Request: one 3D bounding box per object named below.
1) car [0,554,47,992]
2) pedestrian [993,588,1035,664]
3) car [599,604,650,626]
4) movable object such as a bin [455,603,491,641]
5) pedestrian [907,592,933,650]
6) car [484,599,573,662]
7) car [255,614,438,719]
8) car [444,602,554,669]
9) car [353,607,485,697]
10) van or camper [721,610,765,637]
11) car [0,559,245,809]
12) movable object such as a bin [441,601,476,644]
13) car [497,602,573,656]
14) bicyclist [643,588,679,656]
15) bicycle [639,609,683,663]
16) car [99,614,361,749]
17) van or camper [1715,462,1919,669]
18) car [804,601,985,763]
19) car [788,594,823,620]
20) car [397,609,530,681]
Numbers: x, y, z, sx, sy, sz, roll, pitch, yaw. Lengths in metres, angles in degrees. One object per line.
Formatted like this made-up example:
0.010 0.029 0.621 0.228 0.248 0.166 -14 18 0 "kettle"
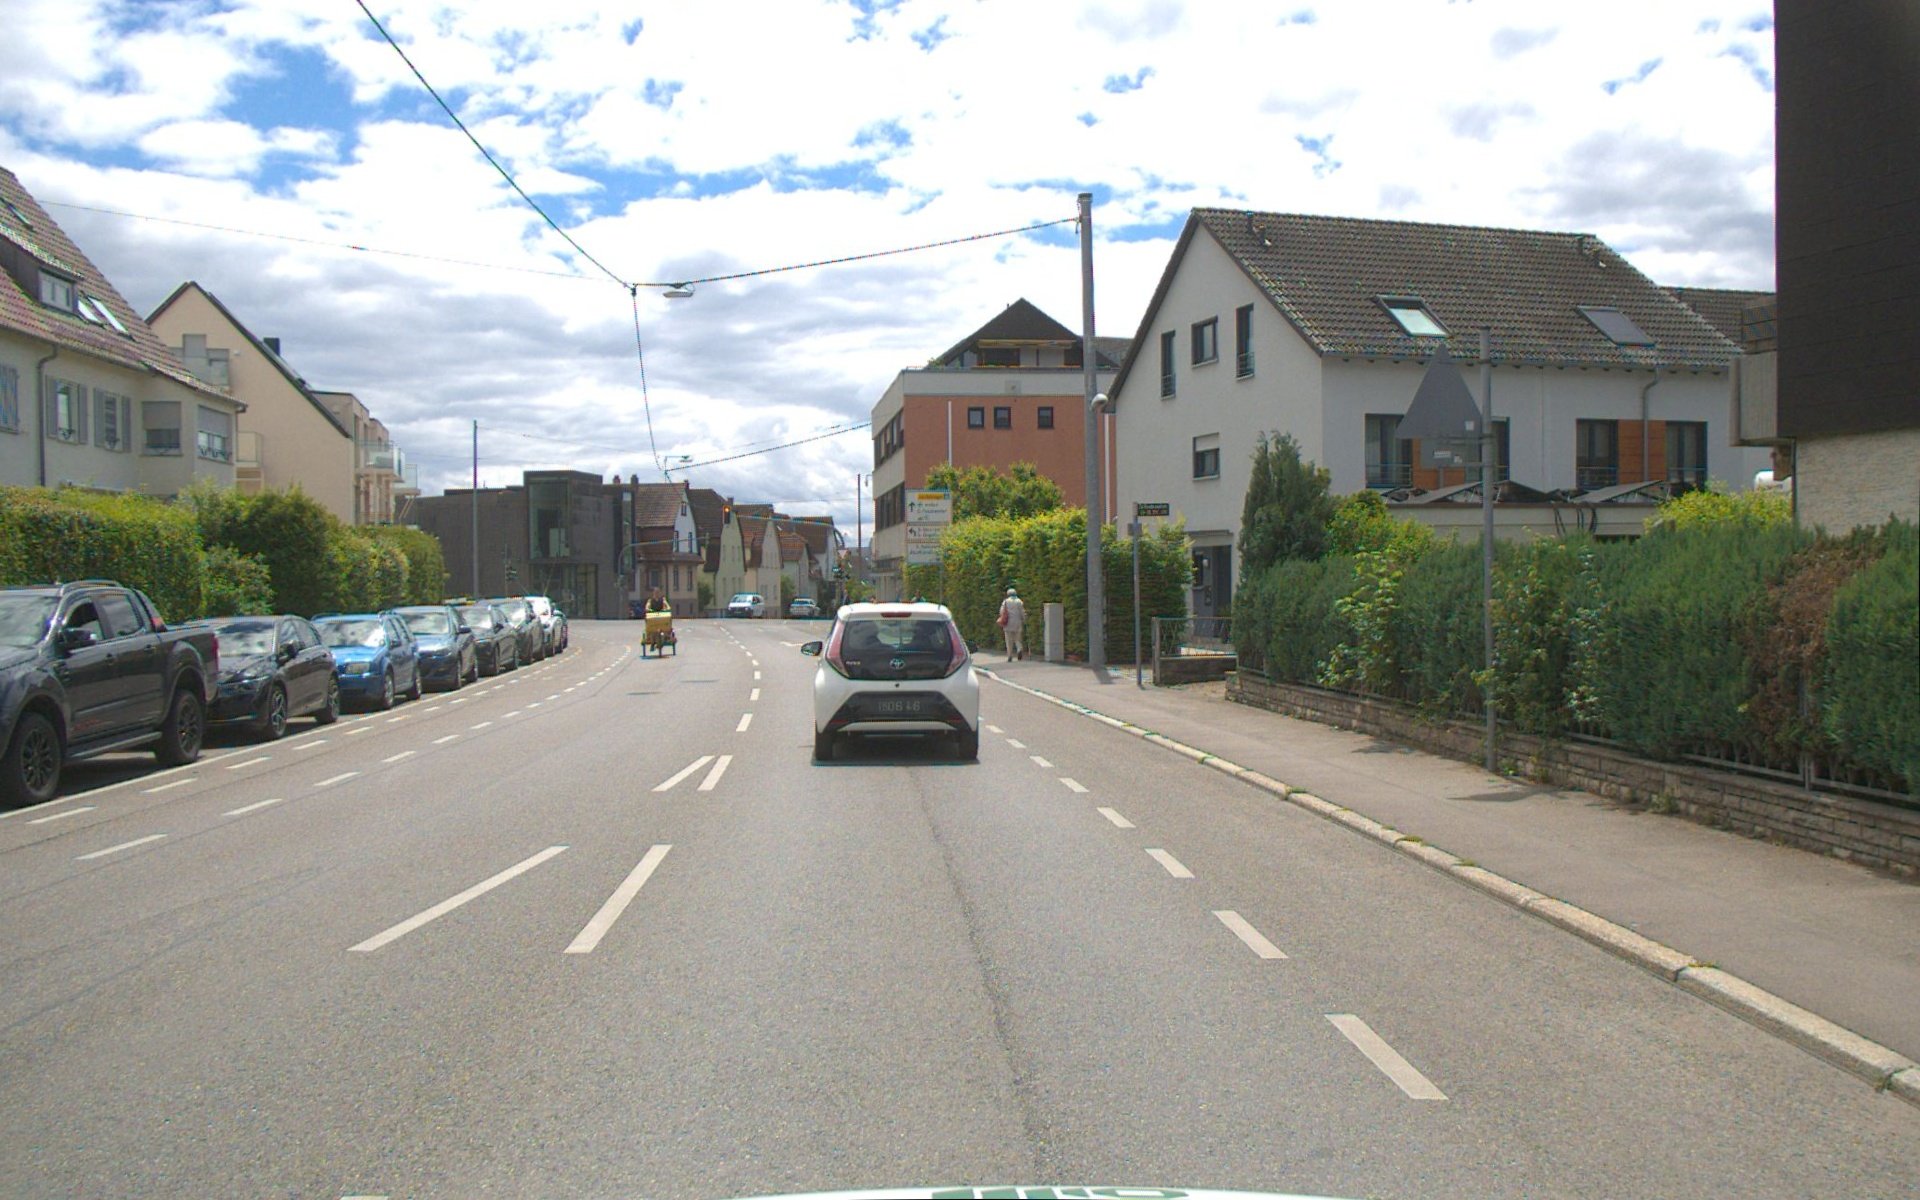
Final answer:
-4.702 0.735 4.474 1.877 1.677 4.294 -5 0 2 "car"
1.185 0.565 36.468 0.784 1.645 0.652 -2 0 -7 "pedestrian"
-26.104 1.167 128.913 3.539 1.633 1.692 1 -1 3 "car"
-17.741 0.791 60.308 1.045 1.336 1.212 -1 0 -7 "movable object such as a bin"
-1.160 0.607 47.835 0.591 1.633 0.835 -2 0 -7 "pedestrian"
-12.259 0.823 47.224 1.956 1.679 4.508 -1 0 -8 "car"
-9.497 0.965 25.943 1.744 1.442 4.432 -1 0 -8 "car"
-11.643 0.854 42.066 1.955 1.591 4.683 -1 0 -6 "car"
-10.024 0.911 30.939 1.746 1.518 4.554 -1 0 -11 "car"
-16.400 1.802 125.387 2.071 1.959 5.289 1 -1 6 "van or camper"
-8.599 0.698 15.357 1.955 1.928 5.397 -3 0 -6 "car"
-17.900 0.790 59.022 1.046 1.508 1.211 -1 0 -11 "movable object such as a bin"
-13.404 0.878 52.329 1.957 1.615 4.478 -1 0 -10 "car"
-7.809 0.569 43.224 0.776 1.743 1.208 -1 0 -4 "bicyclist"
-7.793 0.921 43.224 0.847 1.324 2.659 -1 0 -5 "bicycle"
-8.946 0.924 20.675 1.743 1.442 4.333 -1 0 -6 "car"
17.476 -0.479 30.212 8.571 3.360 2.392 1 -1 -32 "van or camper"
-0.714 0.776 17.031 1.663 1.482 3.296 1 -1 -4 "car"
-12.165 0.575 130.210 1.951 1.937 4.002 1 -1 6 "car"
-10.847 0.935 36.469 1.955 1.433 4.683 -1 0 -6 "car"
